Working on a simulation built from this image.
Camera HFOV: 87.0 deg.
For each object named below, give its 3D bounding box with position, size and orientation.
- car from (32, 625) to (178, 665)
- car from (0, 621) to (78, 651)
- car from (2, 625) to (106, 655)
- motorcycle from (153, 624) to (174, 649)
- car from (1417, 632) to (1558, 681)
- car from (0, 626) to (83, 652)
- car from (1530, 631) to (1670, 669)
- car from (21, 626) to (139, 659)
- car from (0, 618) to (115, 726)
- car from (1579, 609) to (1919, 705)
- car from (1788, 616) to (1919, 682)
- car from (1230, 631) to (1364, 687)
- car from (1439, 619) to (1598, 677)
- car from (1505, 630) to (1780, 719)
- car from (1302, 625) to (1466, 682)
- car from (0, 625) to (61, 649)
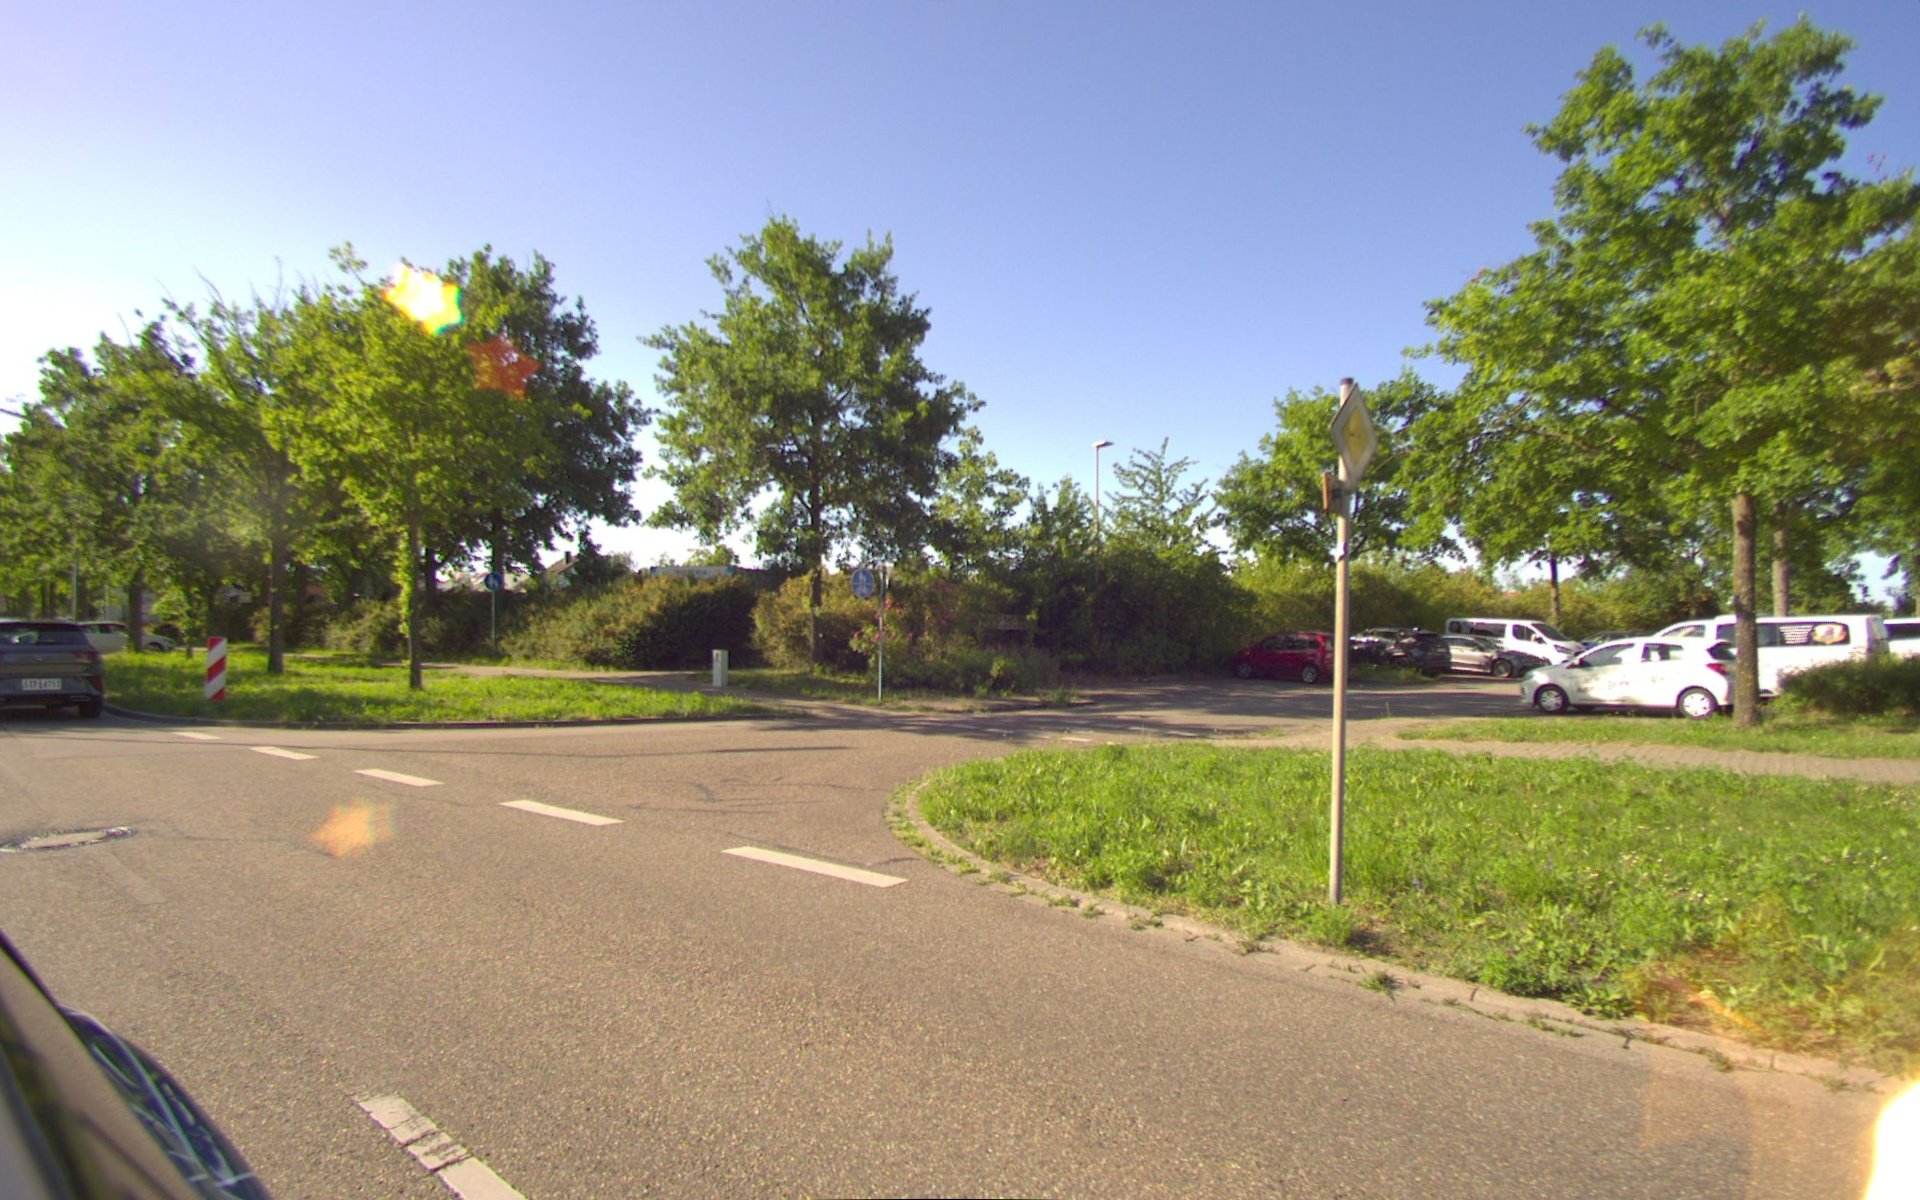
[{"bbox_3d":[-37.110,1.908,44.020,2.189,1.570,4.580,-2,-1,39],"label":"car"},{"bbox_3d":[-63.205,2.448,69.226,1.999,1.898,4.181,-2,-1,43],"label":"car"},{"bbox_3d":[-52.313,2.295,58.483,2.089,1.568,4.362,-2,-1,45],"label":"car"},{"bbox_3d":[-48.769,2.240,61.939,1.991,1.443,0.729,-2,1,44],"label":"motorcycle"},{"bbox_3d":[18.773,1.976,36.132,1.969,1.625,4.007,2,-3,-42],"label":"car"},{"bbox_3d":[-59.591,2.505,65.549,1.866,1.568,4.089,-2,-1,45],"label":"car"},{"bbox_3d":[28.468,2.190,45.167,1.966,1.581,4.896,1,-2,-33],"label":"car"},{"bbox_3d":[-44.749,2.116,51.515,2.088,1.522,4.365,-2,-1,42],"label":"car"},{"bbox_3d":[-15.307,1.109,16.209,4.489,1.548,1.787,-2,-4,38],"label":"car"},{"bbox_3d":[17.174,1.302,22.348,2.270,1.831,5.452,2,-5,-37],"label":"car"},{"bbox_3d":[29.231,1.492,30.976,2.332,1.943,5.530,2,-5,-37],"label":"car"},{"bbox_3d":[10.376,1.774,31.362,1.776,1.516,3.560,2,-1,-37],"label":"car"},{"bbox_3d":[20.890,1.763,38.070,1.966,2.029,4.896,1,-2,-33],"label":"car"},{"bbox_3d":[13.039,1.433,19.540,1.967,1.516,3.925,2,-5,-37],"label":"car"},{"bbox_3d":[14.360,1.778,34.581,1.966,1.798,4.896,1,-2,-33],"label":"car"},{"bbox_3d":[-67.338,2.664,72.692,4.016,1.655,1.877,0,-1,-45],"label":"car"}]
